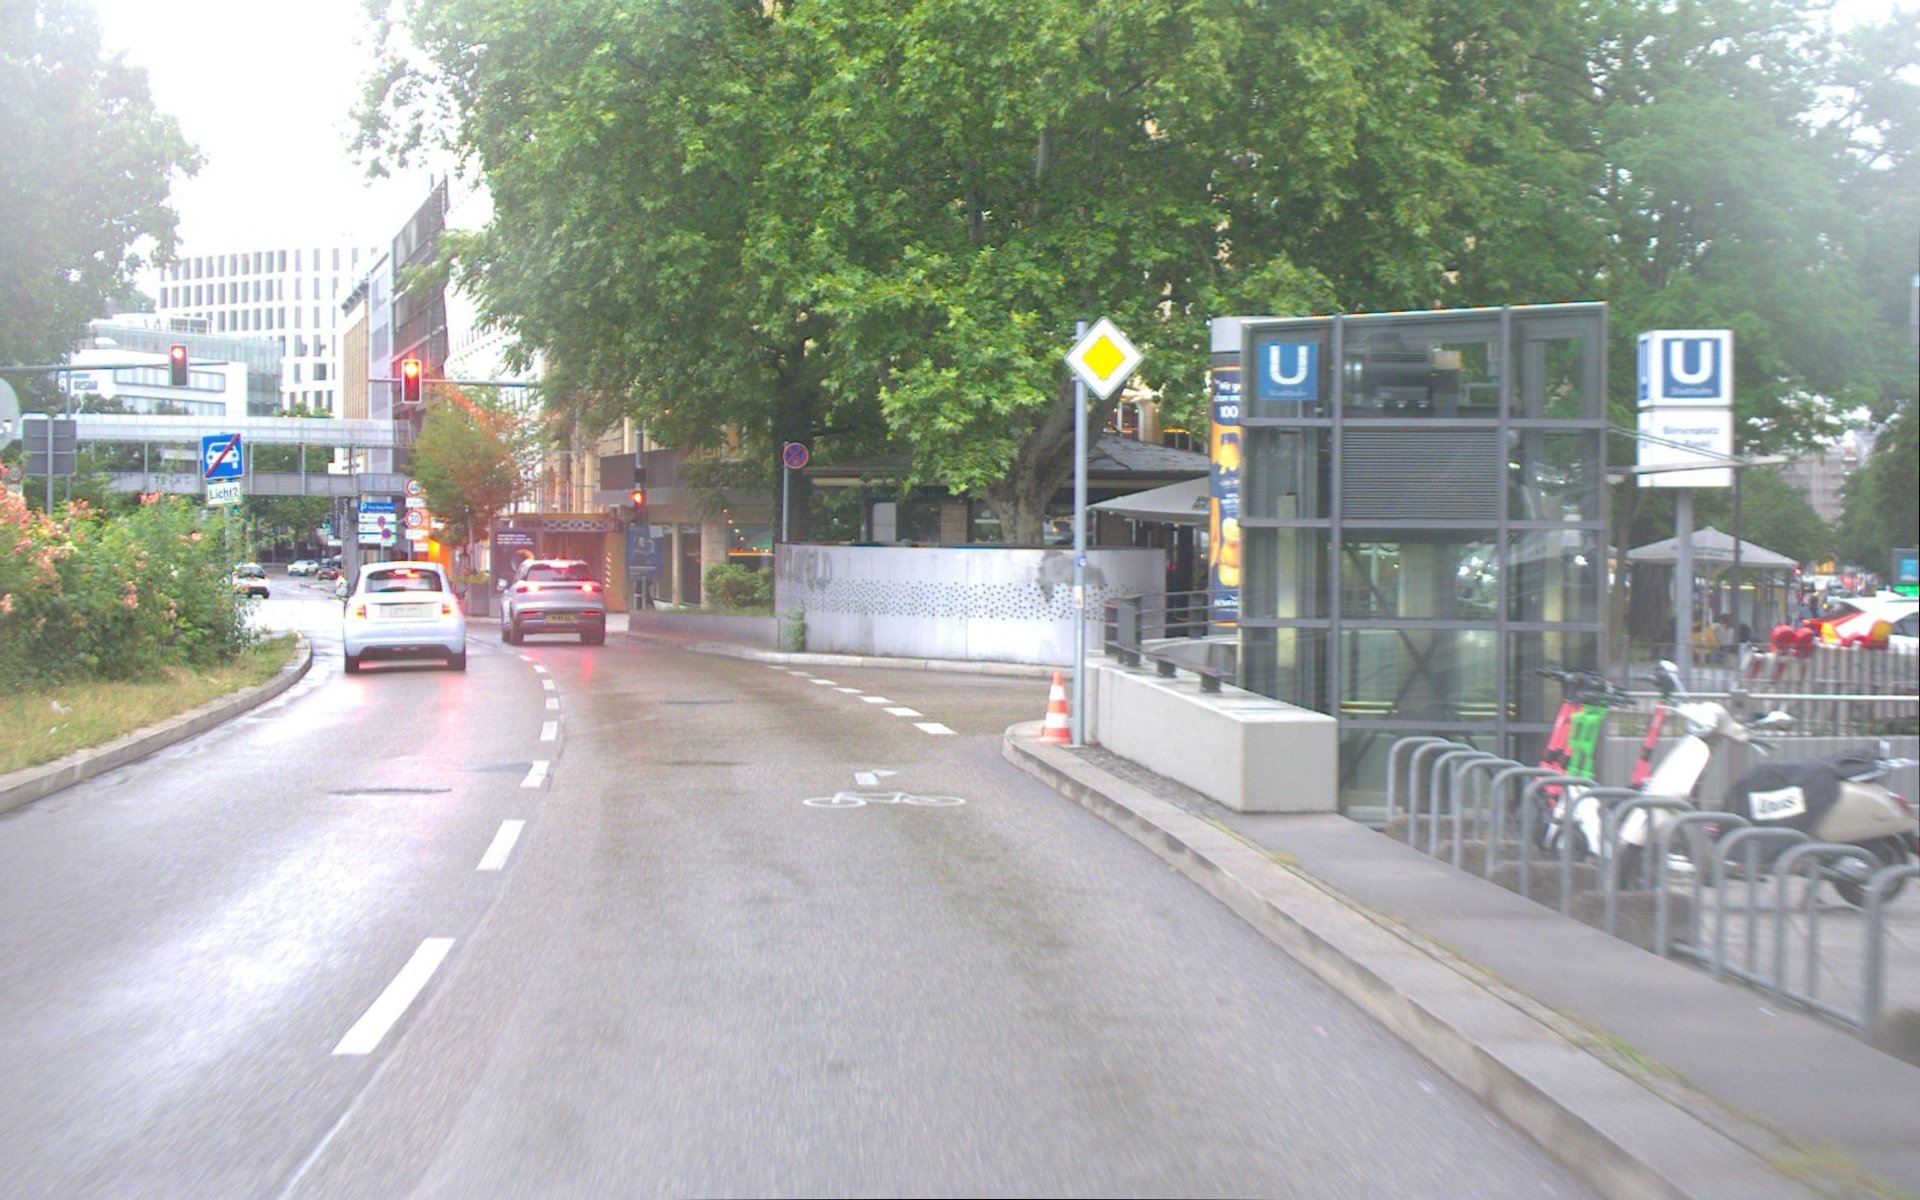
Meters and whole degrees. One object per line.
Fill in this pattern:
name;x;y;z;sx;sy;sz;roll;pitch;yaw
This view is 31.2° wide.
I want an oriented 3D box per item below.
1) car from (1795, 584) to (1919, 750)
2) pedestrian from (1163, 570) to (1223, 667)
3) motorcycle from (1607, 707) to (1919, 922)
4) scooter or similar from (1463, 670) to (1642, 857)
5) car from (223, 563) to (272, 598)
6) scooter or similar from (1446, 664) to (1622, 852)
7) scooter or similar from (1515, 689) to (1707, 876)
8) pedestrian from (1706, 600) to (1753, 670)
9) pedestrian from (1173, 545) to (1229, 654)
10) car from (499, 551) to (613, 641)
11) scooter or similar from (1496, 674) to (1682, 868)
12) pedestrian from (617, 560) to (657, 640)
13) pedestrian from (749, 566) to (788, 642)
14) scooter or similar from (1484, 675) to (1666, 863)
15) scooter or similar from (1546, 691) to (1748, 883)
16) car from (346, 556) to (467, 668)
car;10.879;0.793;35.571;4.098;1.615;1.862;4;0;9
pedestrian;3.463;0.270;51.163;0.684;1.405;0.905;3;0;-5
motorcycle;4.708;1.233;19.851;1.776;1.154;0.607;1;1;-5
scooter or similar;4.039;1.114;23.473;1.112;1.230;0.365;1;1;-5
car;-31.699;-0.876;152.933;1.978;1.458;4.346;-2;1;-13
scooter or similar;3.981;1.094;23.876;1.112;1.265;0.365;1;1;-5
scooter or similar;4.206;1.176;22.236;1.112;1.154;0.443;1;1;-5
pedestrian;14.179;0.639;63.324;0.628;1.246;0.609;3;0;-5
pedestrian;3.777;-0.012;53.909;0.723;1.696;0.618;0;0;21
car;-7.972;-0.090;67.494;1.946;1.661;4.346;1;0;-10
scooter or similar;4.144;1.122;22.676;1.112;1.233;0.365;1;1;-5
pedestrian;-7.236;-0.006;77.068;0.859;1.774;0.718;0;0;-7
pedestrian;-4.481;0.086;80.358;0.859;1.774;0.718;0;0;-7
scooter or similar;4.126;1.132;23.074;1.112;1.212;0.365;1;1;-5
scooter or similar;4.334;1.177;21.729;1.112;1.154;0.532;1;1;-5
car;-7.863;0.136;48.702;1.590;1.486;3.506;-1;1;-10
